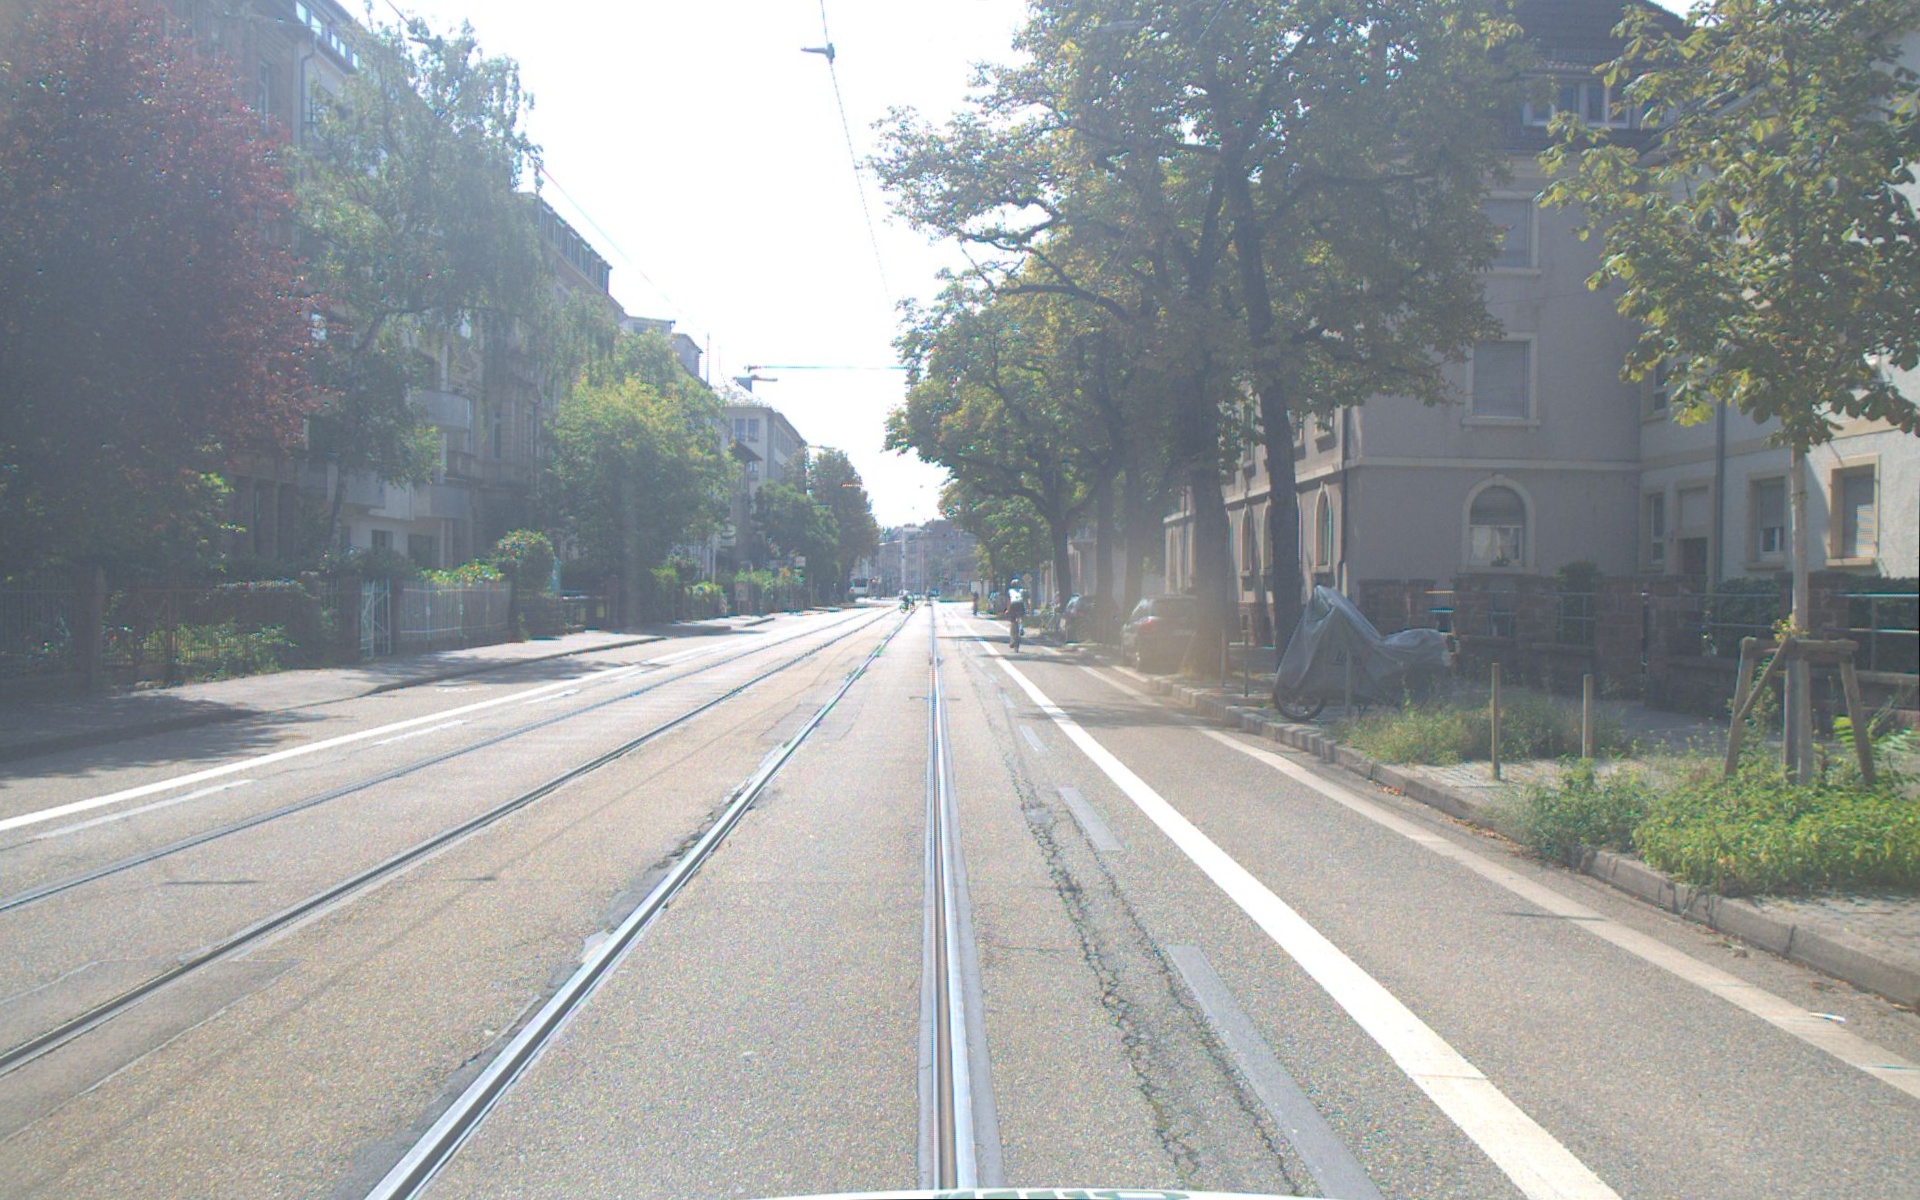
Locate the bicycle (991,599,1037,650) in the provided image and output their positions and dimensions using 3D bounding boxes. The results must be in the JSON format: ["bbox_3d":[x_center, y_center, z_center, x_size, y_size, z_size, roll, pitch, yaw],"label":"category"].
[{"bbox_3d":[1.394,0.619,43.137,1.124,1.291,2.712,0,0,0],"label":"bicycle"}]

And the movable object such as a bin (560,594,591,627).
[{"bbox_3d":[-12.919,0.344,55.583,0.770,1.094,0.803,2,0,2],"label":"movable object such as a bin"}]

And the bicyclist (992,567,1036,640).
[{"bbox_3d":[1.393,0.099,43.034,1.102,1.869,0.955,1,-1,0],"label":"bicyclist"}]

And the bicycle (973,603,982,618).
[{"bbox_3d":[1.138,0.706,109.246,0.576,0.955,2.172,1,0,1],"label":"bicycle"}]

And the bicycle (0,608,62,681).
[{"bbox_3d":[-12.883,0.572,21.739,1.787,0.927,0.712,2,0,-22],"label":"bicycle"}]

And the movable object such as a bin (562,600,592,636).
[{"bbox_3d":[-12.008,0.562,51.847,0.771,1.094,0.754,2,0,-3],"label":"movable object such as a bin"}]

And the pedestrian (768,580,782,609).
[{"bbox_3d":[-11.718,-0.340,104.901,0.764,1.787,1.040,0,0,-1],"label":"pedestrian"}]

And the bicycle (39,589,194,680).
[{"bbox_3d":[-11.869,0.483,23.309,1.775,1.202,0.716,2,0,1],"label":"bicycle"}]

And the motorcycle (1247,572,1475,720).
[{"bbox_3d":[4.495,0.527,18.657,2.303,1.567,0.963,-2,-2,40],"label":"motorcycle"}]

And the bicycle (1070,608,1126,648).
[{"bbox_3d":[3.979,0.808,47.610,1.572,1.123,0.399,1,0,5],"label":"bicycle"}]

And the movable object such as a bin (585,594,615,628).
[{"bbox_3d":[-12.114,0.372,55.641,0.770,1.094,0.803,2,0,2],"label":"movable object such as a bin"}]

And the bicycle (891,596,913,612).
[{"bbox_3d":[-3.921,0.275,111.820,0.743,1.008,2.299,0,0,19],"label":"bicycle"}]

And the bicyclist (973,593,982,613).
[{"bbox_3d":[1.139,0.212,109.198,0.567,1.301,0.471,1,-1,1],"label":"bicyclist"}]

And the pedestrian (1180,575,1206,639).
[{"bbox_3d":[7.075,0.219,50.311,0.692,1.925,0.714,1,-1,0],"label":"pedestrian"}]

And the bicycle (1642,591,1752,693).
[{"bbox_3d":[10.591,0.580,23.858,0.582,1.382,2.369,1,0,2],"label":"bicycle"}]

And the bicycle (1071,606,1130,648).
[{"bbox_3d":[4.070,0.778,47.999,1.686,1.169,0.377,1,0,5],"label":"bicycle"}]

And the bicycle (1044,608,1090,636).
[{"bbox_3d":[4.023,0.827,62.013,1.678,1.050,0.566,0,0,0],"label":"bicycle"}]

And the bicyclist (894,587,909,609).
[{"bbox_3d":[-3.968,-0.133,111.673,0.743,1.416,0.779,0,-1,19],"label":"bicyclist"}]

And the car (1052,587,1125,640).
[{"bbox_3d":[3.971,0.409,51.787,1.803,1.559,4.778,-1,0,-1],"label":"car"}]

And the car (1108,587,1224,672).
[{"bbox_3d":[4.211,0.568,34.408,1.803,1.559,4.114,0,2,-1],"label":"car"}]

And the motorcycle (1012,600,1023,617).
[{"bbox_3d":[3.613,0.526,103.953,0.537,1.086,2.330,1,0,-1],"label":"motorcycle"}]

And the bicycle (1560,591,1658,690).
[{"bbox_3d":[9.587,0.572,24.522,0.582,1.382,2.369,1,0,2],"label":"bicycle"}]
